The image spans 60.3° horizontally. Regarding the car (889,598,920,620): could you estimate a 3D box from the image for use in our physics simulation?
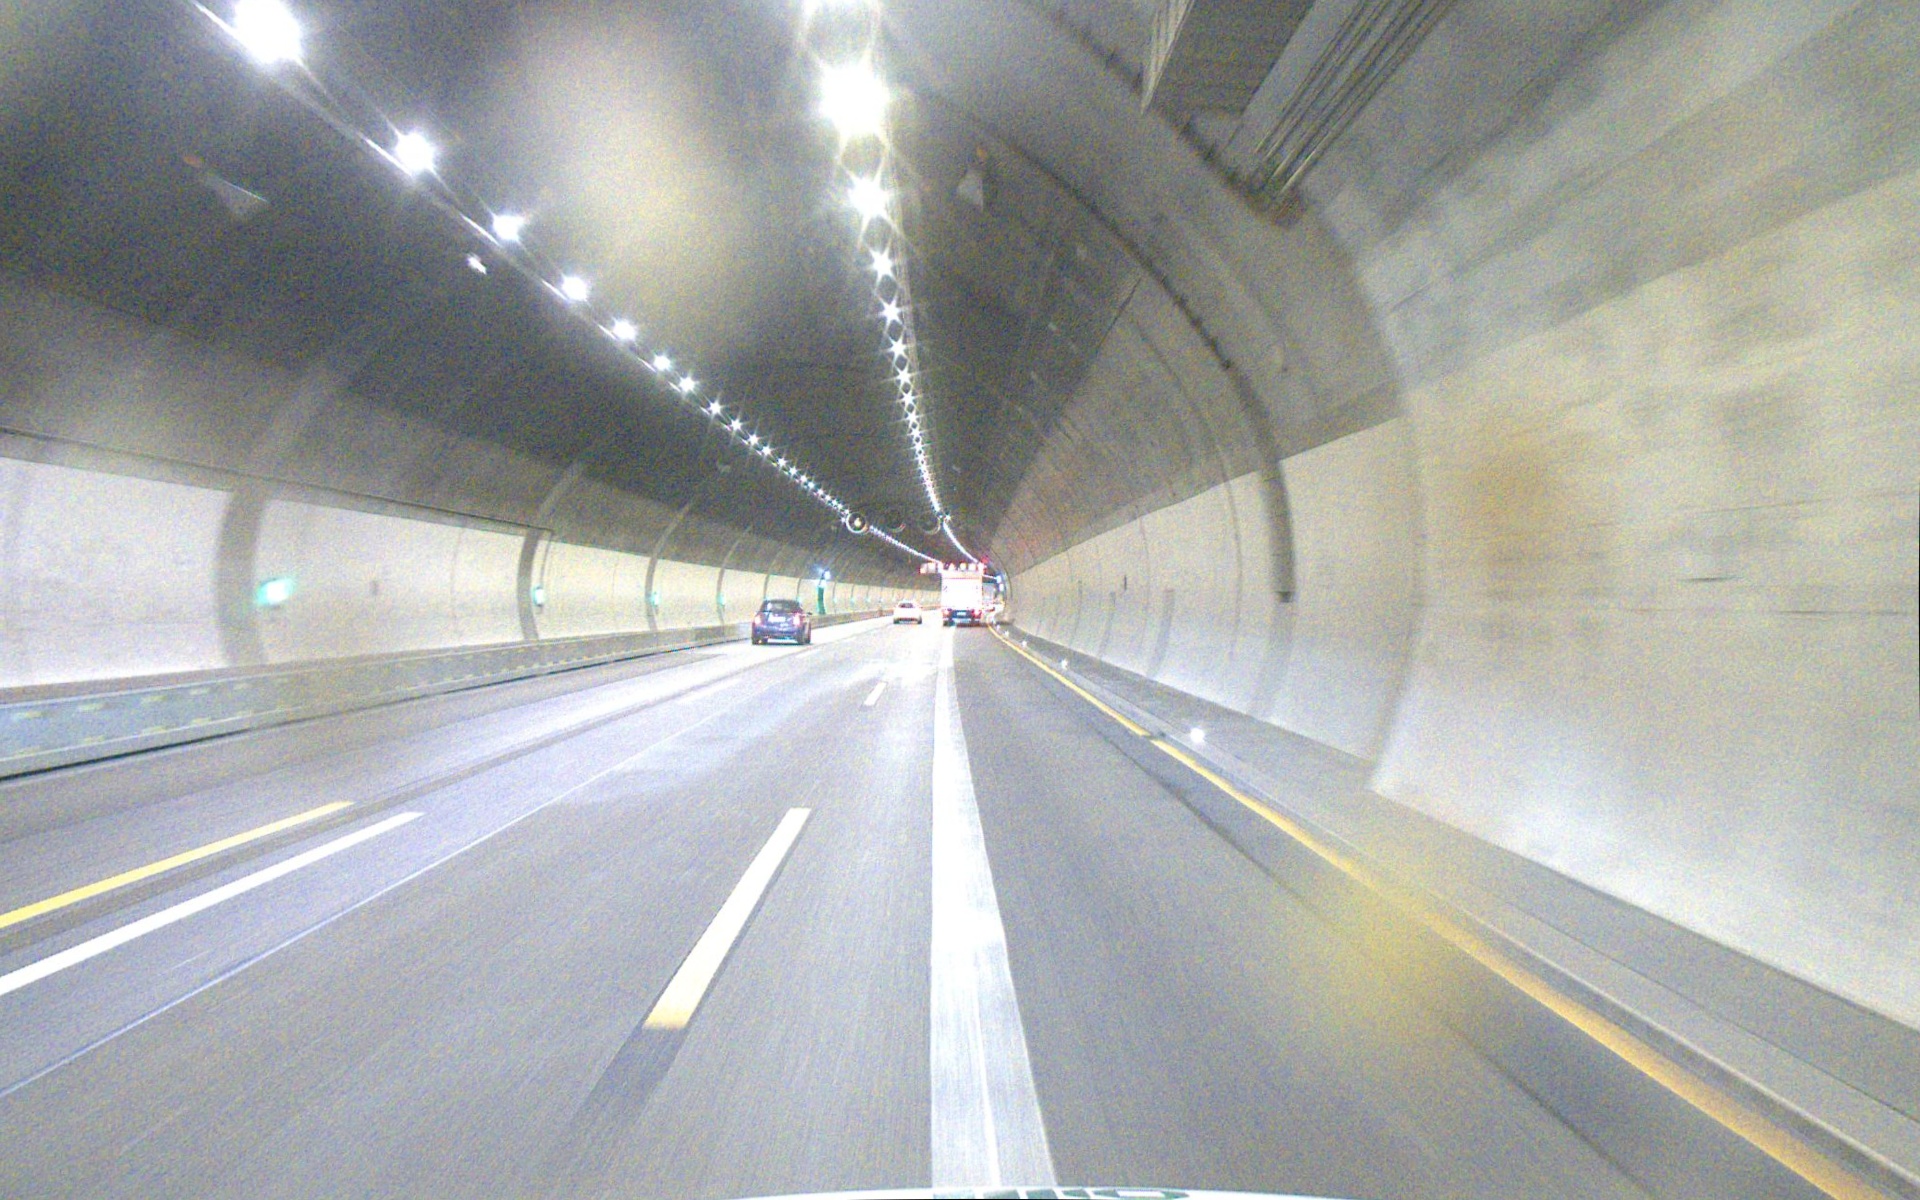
[{"bbox_3d":[-3.648,0.589,109.545,1.953,1.437,4.742,0,0,-1],"label":"car"}]

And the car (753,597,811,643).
[{"bbox_3d":[-5.751,0.621,53.739,1.655,1.442,3.920,0,0,-3],"label":"car"}]

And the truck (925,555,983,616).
[{"bbox_3d":[-0.385,-0.939,106.358,3.519,3.714,10.721,0,0,0],"label":"truck"}]
